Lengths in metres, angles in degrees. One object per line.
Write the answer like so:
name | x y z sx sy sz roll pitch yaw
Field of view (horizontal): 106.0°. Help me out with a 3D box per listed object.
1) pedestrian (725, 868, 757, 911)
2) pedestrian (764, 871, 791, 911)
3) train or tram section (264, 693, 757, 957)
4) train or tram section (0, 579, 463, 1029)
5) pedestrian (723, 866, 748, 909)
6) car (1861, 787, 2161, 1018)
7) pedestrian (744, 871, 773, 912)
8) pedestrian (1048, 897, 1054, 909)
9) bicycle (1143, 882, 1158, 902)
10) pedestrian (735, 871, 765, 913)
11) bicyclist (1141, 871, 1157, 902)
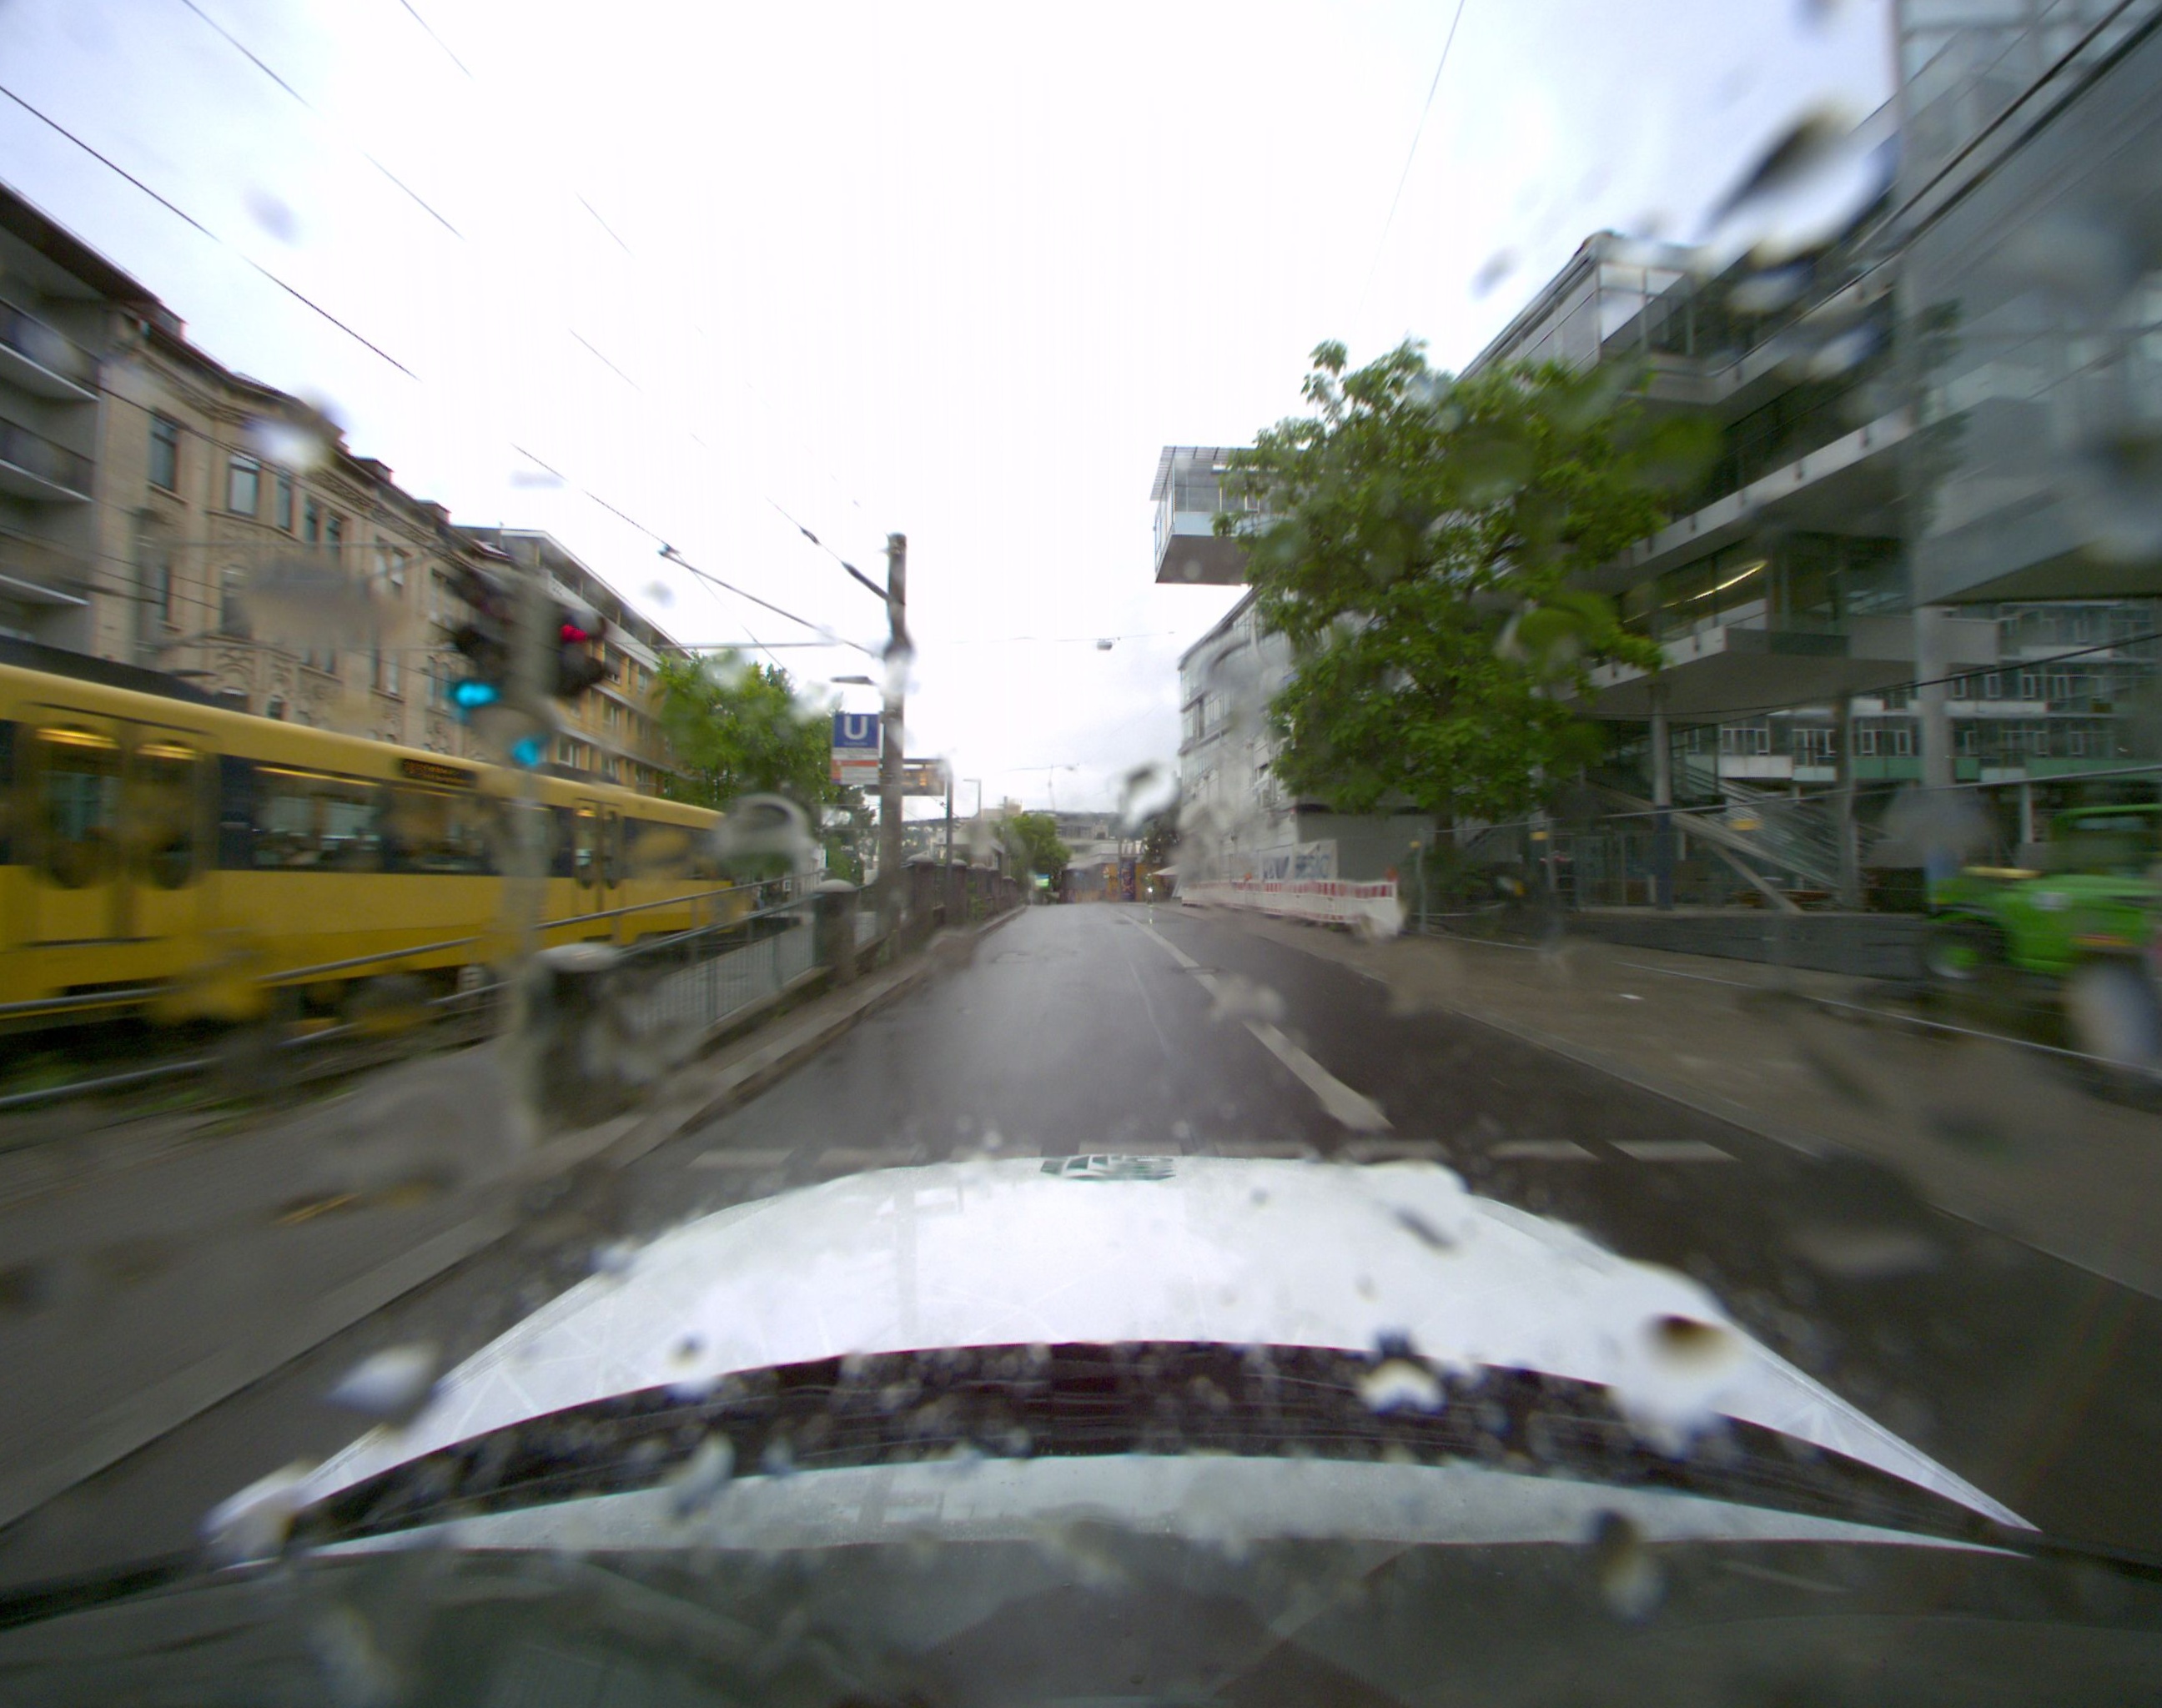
pedestrian | -13.749 1.442 32.944 0.769 1.649 0.778 -6 -2 2
pedestrian | -13.241 1.599 35.531 0.674 1.649 0.896 -5 -2 2
train or tram section | -9.991 -0.396 16.359 2.768 3.692 9.717 1 0 2
train or tram section | -10.256 -0.423 6.723 2.768 3.692 9.513 1 0 2
pedestrian | -13.270 1.282 31.270 0.630 1.660 0.683 0 -2 2
car | 10.217 0.409 7.456 2.005 1.982 4.195 -1 -1 -4
pedestrian | -13.886 1.609 35.129 0.769 1.649 0.778 -6 -2 2
pedestrian | -4.977 8.090 133.616 0.807 1.865 1.052 -2 -4 -9
bicycle | 3.793 2.114 44.588 0.659 1.053 2.055 0 -4 0
pedestrian | -13.911 1.591 34.211 0.769 1.649 0.778 -6 -2 2
bicyclist | 3.716 1.772 44.581 0.660 1.639 0.792 -5 -3 -1
